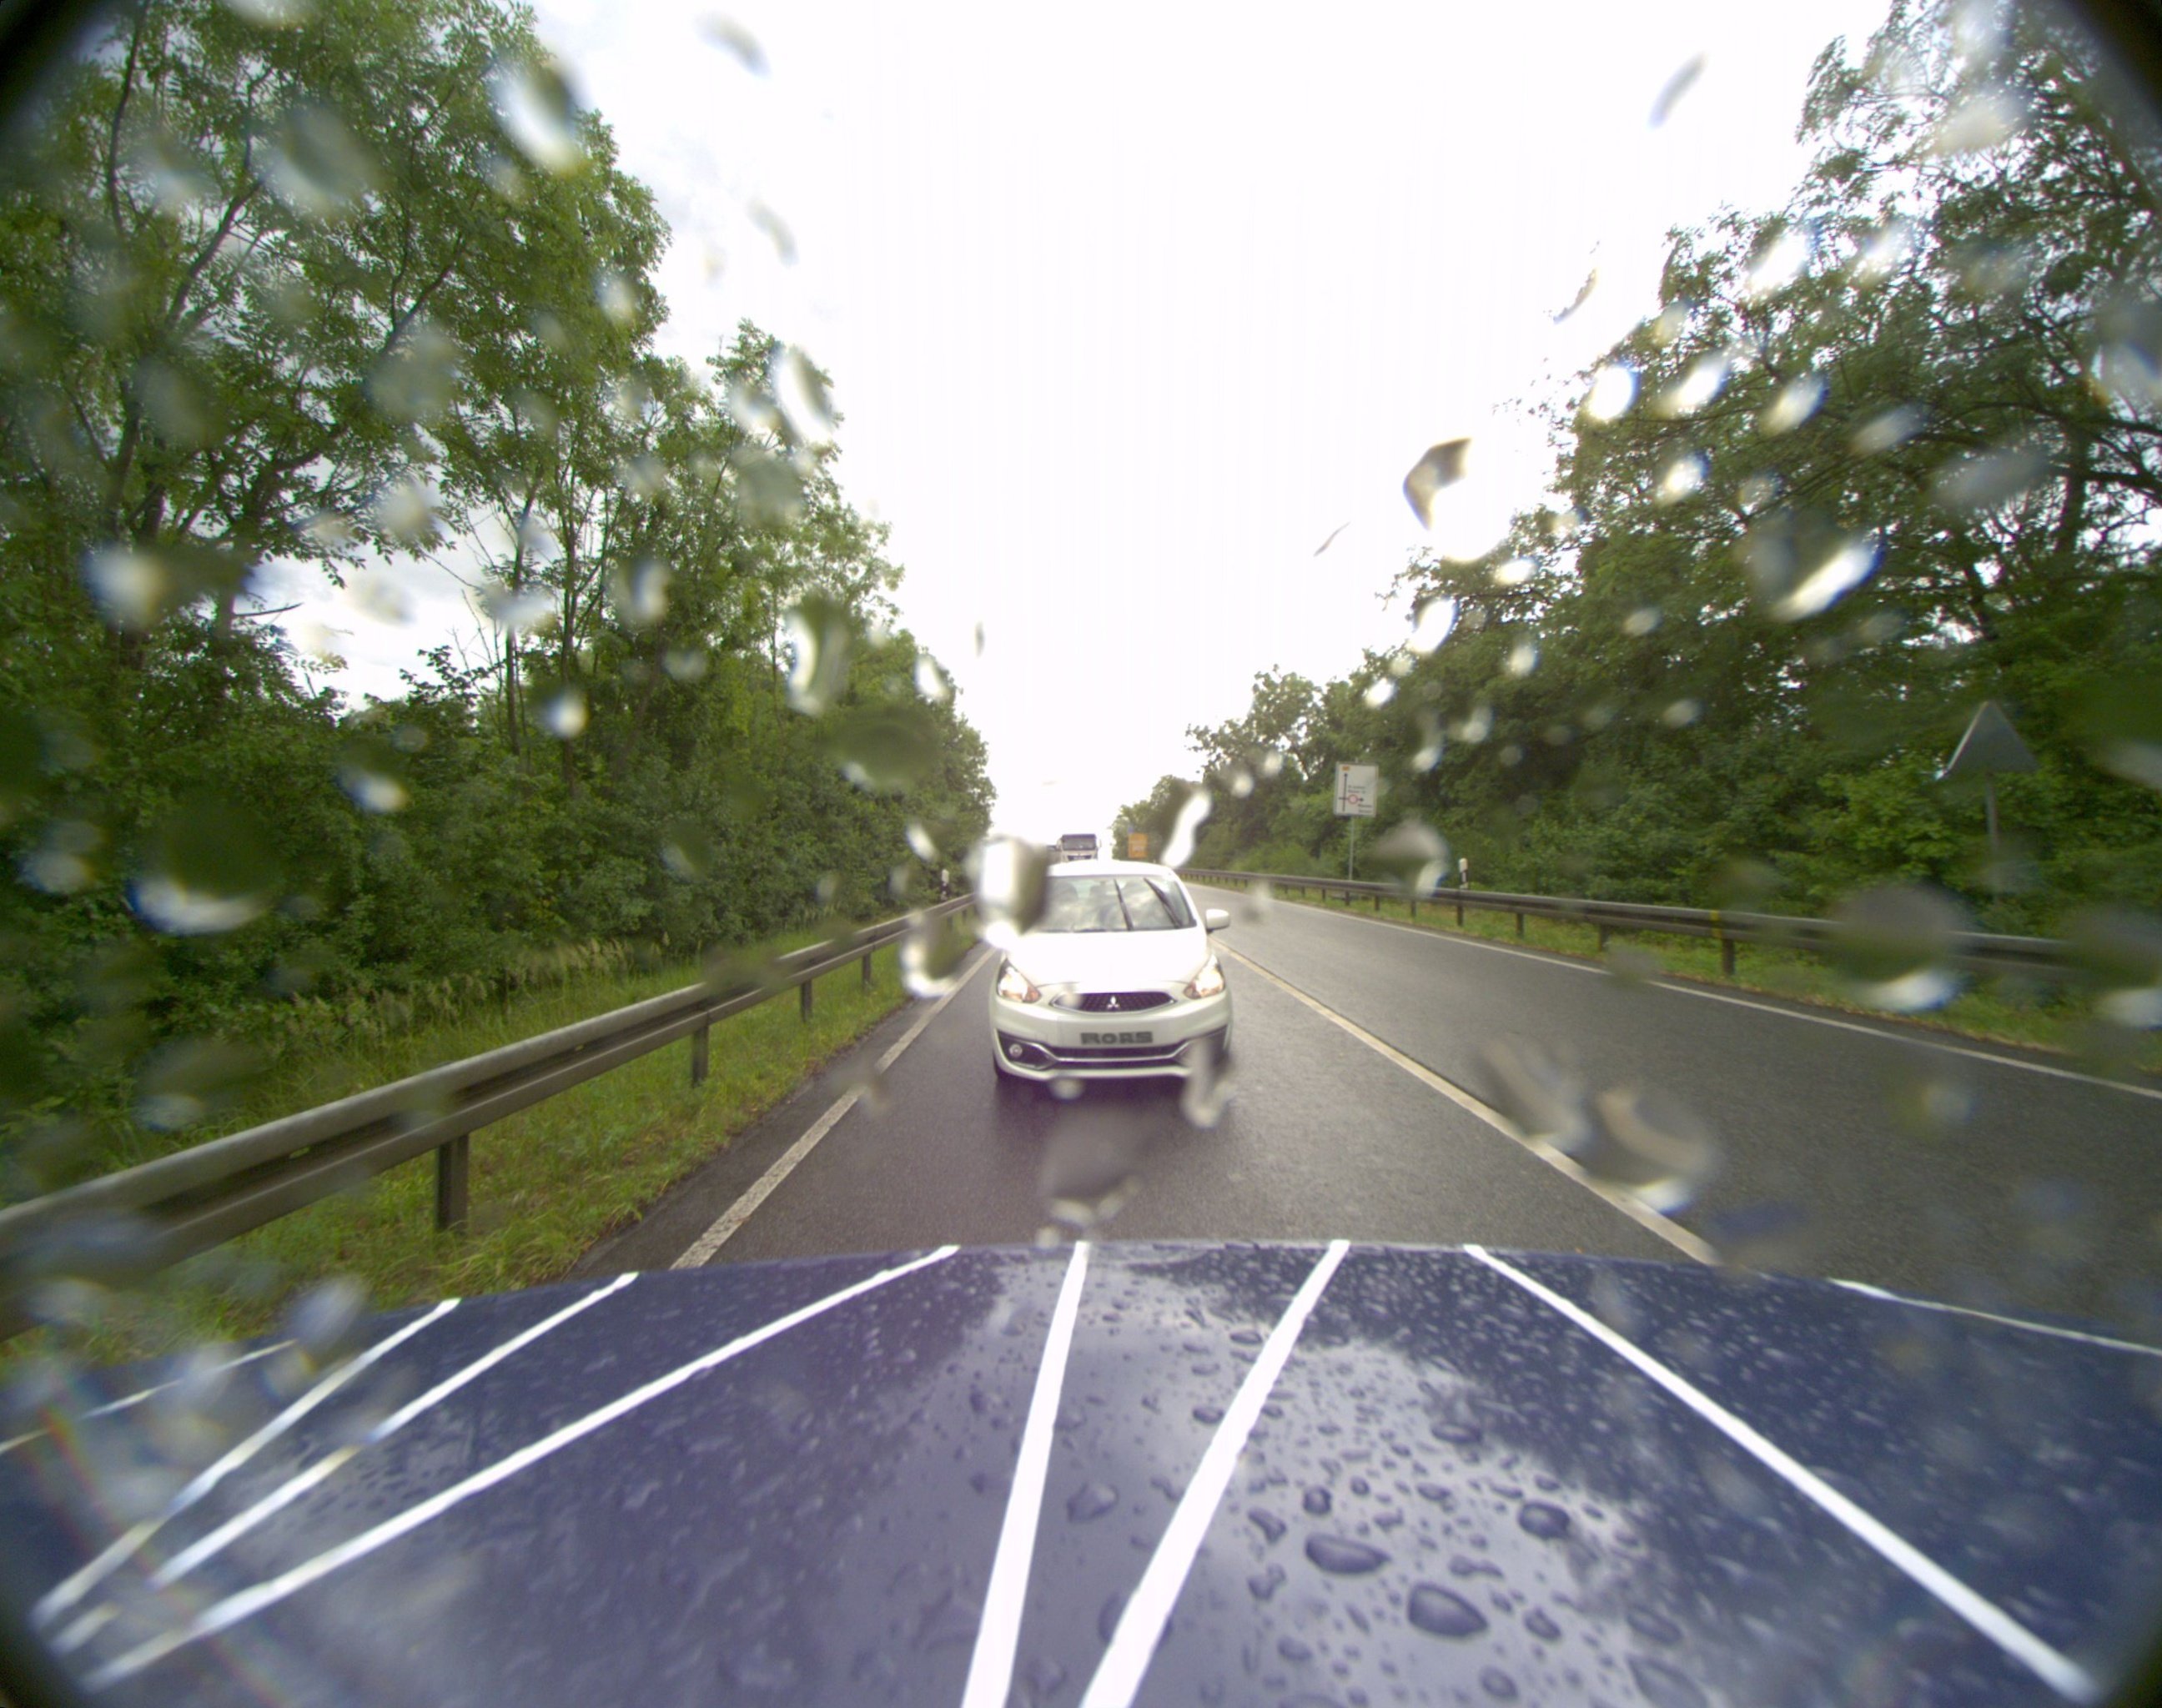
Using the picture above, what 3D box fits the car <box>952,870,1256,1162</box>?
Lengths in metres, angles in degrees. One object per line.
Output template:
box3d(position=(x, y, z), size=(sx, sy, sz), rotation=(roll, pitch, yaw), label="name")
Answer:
box3d(position=(0.143, 0.932, 6.254), size=(1.610, 1.435, 4.209), rotation=(-2, 0, 0), label="car")

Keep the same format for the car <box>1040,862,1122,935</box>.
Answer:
box3d(position=(0.041, 0.935, 17.882), size=(1.640, 1.413, 4.492), rotation=(-2, 0, 1), label="car")

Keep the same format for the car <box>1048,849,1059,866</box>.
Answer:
box3d(position=(-4.157, 0.482, 115.833), size=(1.613, 2.422, 3.999), rotation=(-2, 1, -2), label="car")

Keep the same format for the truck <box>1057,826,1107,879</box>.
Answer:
box3d(position=(0.006, -0.157, 54.262), size=(3.136, 3.364, 9.281), rotation=(-2, 1, -1), label="truck")
